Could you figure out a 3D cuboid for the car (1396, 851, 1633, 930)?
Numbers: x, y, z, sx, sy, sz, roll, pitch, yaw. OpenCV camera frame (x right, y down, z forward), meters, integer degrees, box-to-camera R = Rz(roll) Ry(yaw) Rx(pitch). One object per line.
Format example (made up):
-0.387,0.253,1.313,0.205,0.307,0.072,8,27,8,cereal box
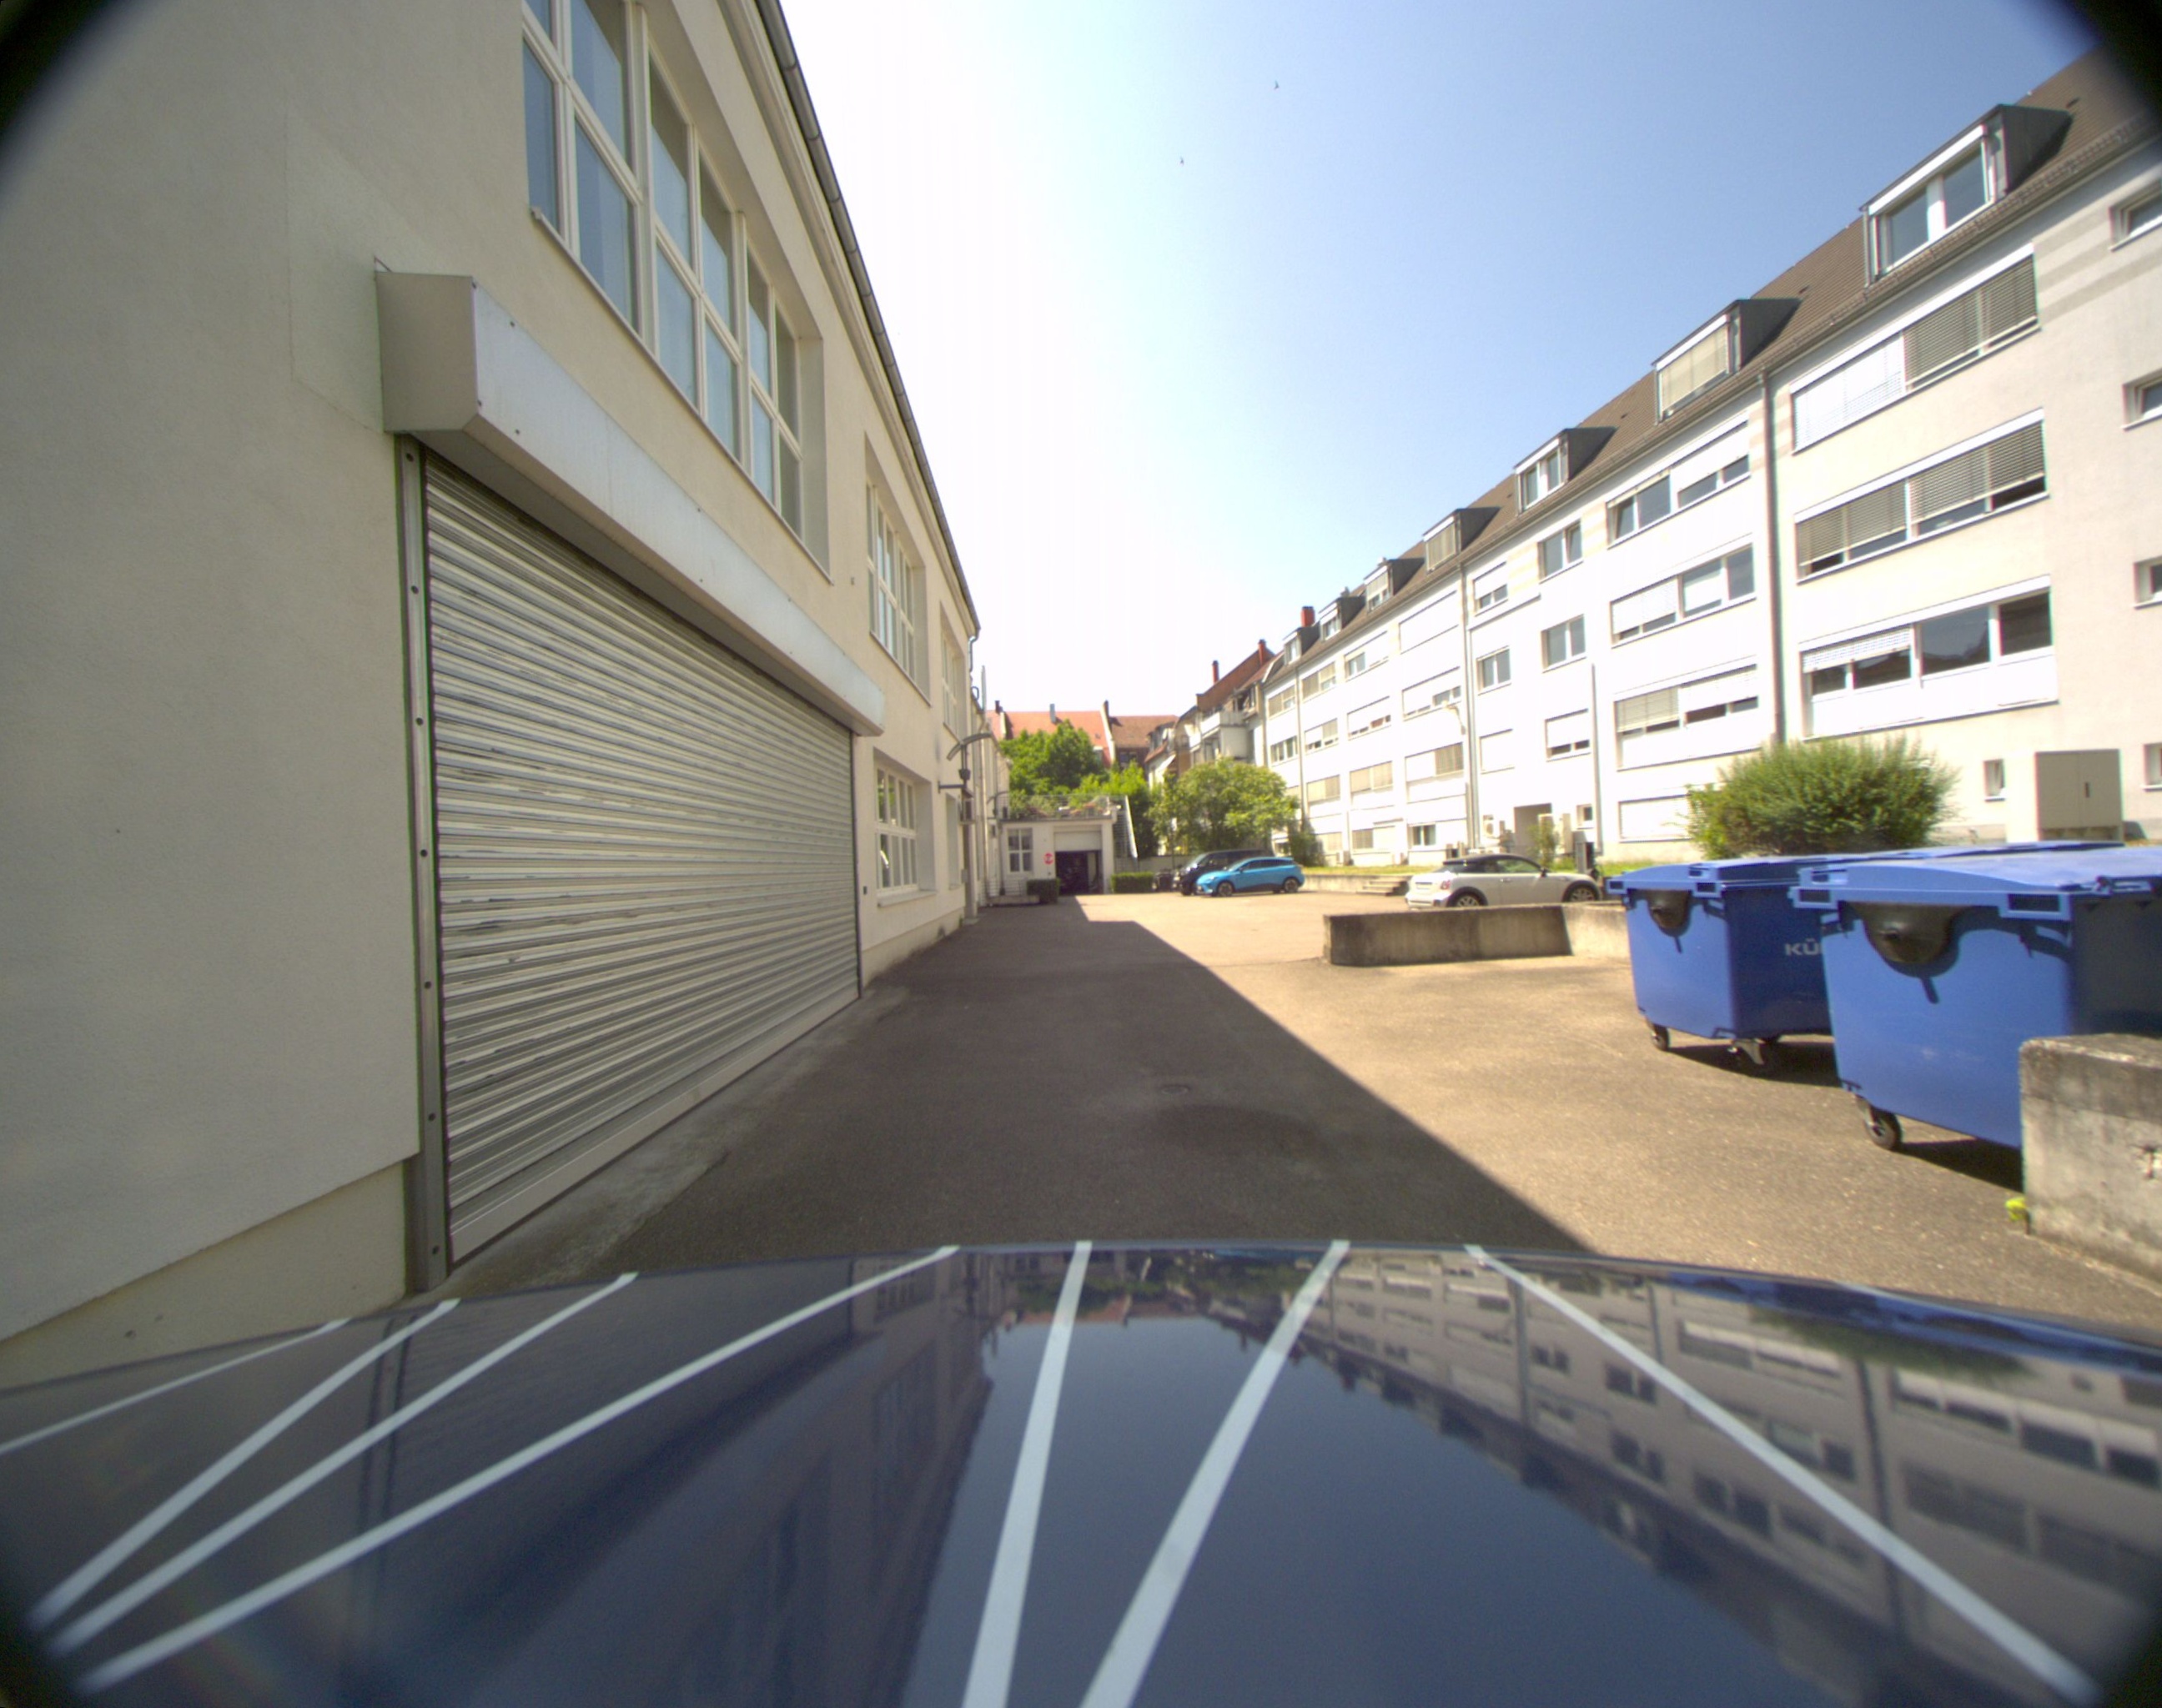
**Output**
8.901,0.714,15.788,3.999,1.428,1.710,-2,0,-6,car

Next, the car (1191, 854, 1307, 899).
6.774,0.890,30.878,4.169,1.544,1.858,-3,0,-7,car

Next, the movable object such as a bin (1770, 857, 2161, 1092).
5.718,0.714,5.026,1.257,1.320,1.104,-3,0,-2,movable object such as a bin

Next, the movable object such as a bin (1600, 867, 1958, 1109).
4.409,0.781,4.938,1.257,1.320,1.104,-3,0,-2,movable object such as a bin

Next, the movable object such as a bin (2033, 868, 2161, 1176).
5.354,0.723,3.202,1.257,1.320,1.104,-3,0,-2,movable object such as a bin

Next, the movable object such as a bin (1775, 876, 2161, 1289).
4.033,0.790,3.144,1.257,1.320,1.104,-3,0,-2,movable object such as a bin

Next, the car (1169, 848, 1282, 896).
6.307,0.781,33.482,4.450,1.821,1.999,-3,0,-5,car
